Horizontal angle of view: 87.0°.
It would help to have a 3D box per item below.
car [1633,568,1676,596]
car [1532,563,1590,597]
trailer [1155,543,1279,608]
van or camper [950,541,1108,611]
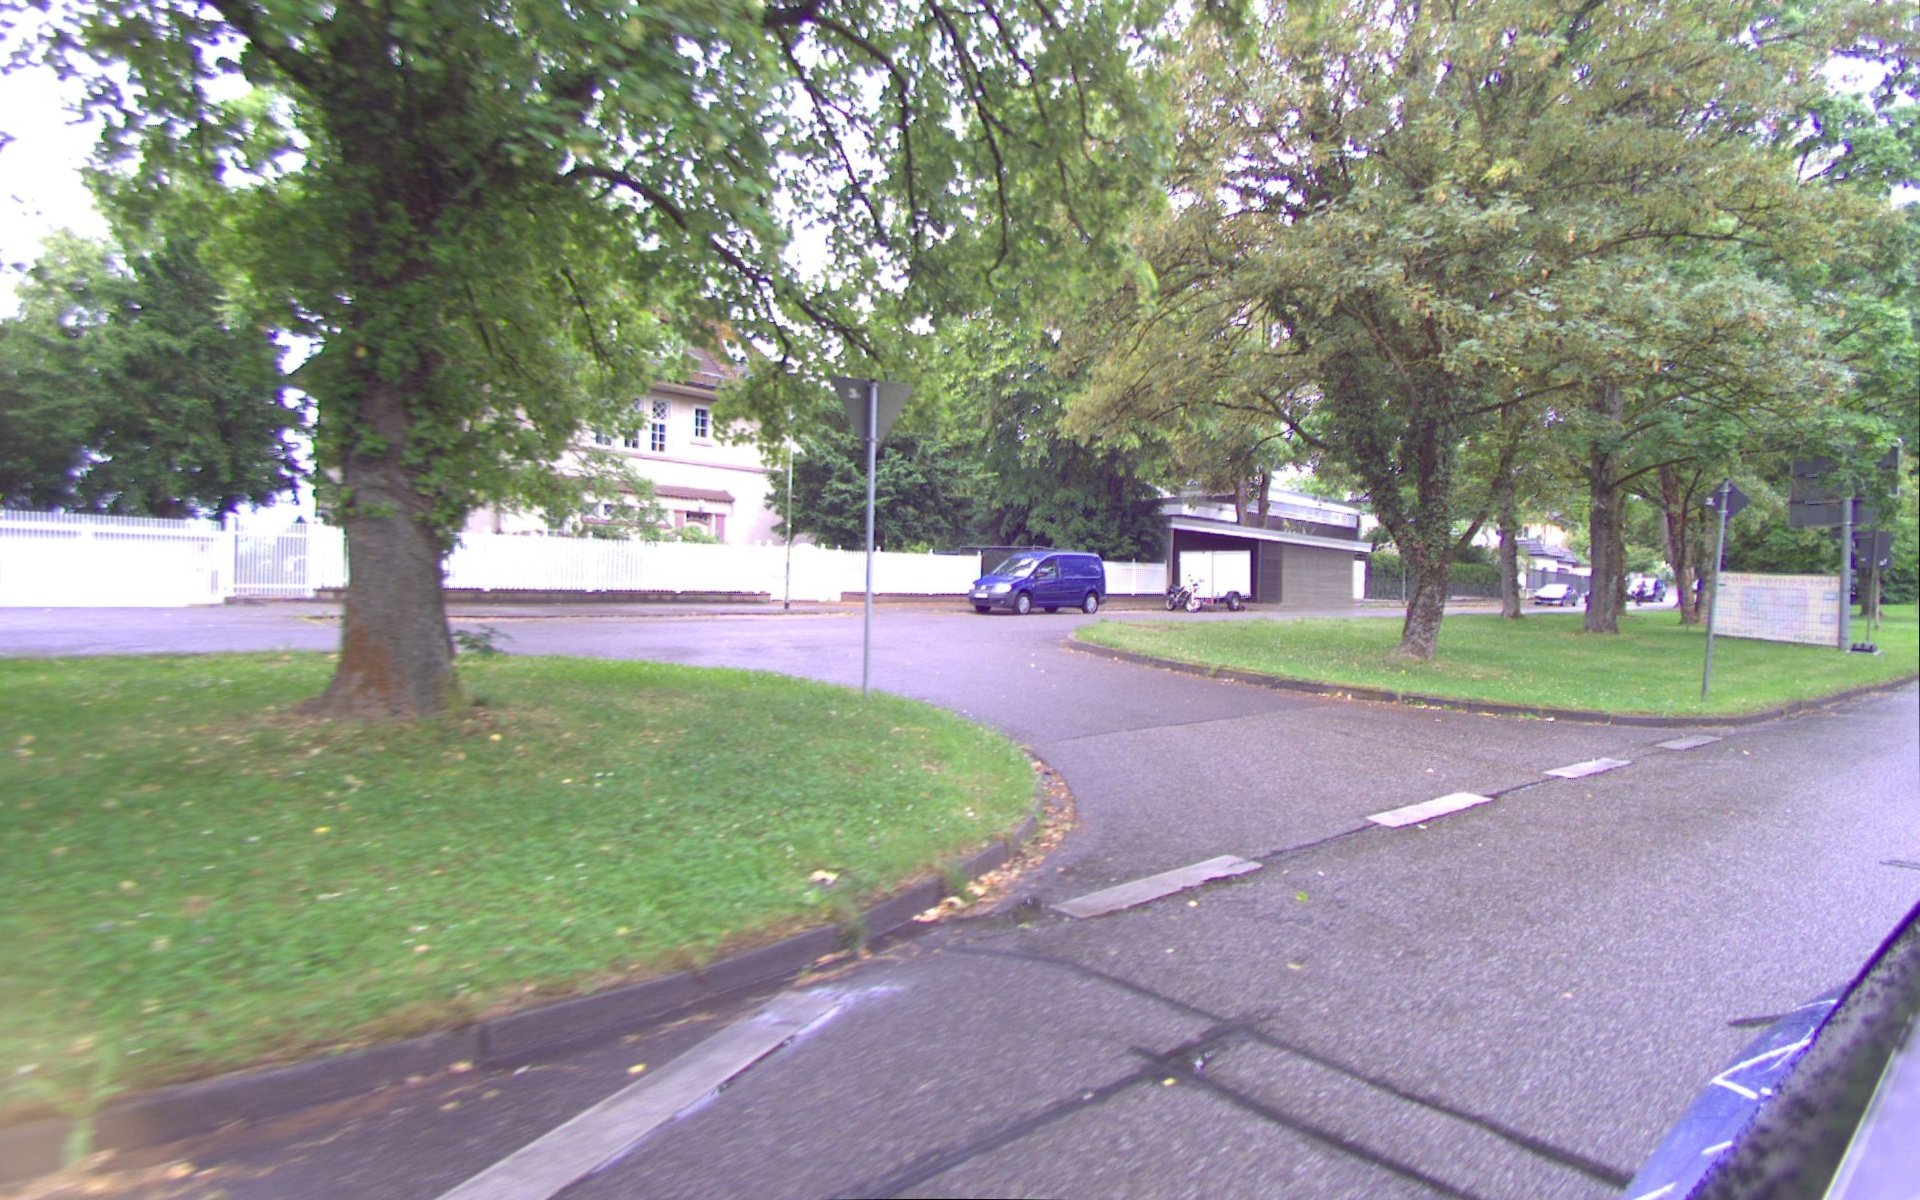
[{"bbox_3d":[55.718,-1.413,81.152,3.932,2.039,1.996,3,1,-43],"label":"car"},{"bbox_3d":[38.460,-1.272,64.727,3.931,2.038,1.997,0,2,-41],"label":"car"},{"bbox_3d":[9.126,-0.820,35.655,5.106,2.143,1.768,-1,0,-44],"label":"trailer"},{"bbox_3d":[2.054,-0.654,29.136,1.994,1.831,4.700,0,0,44],"label":"van or camper"}]
